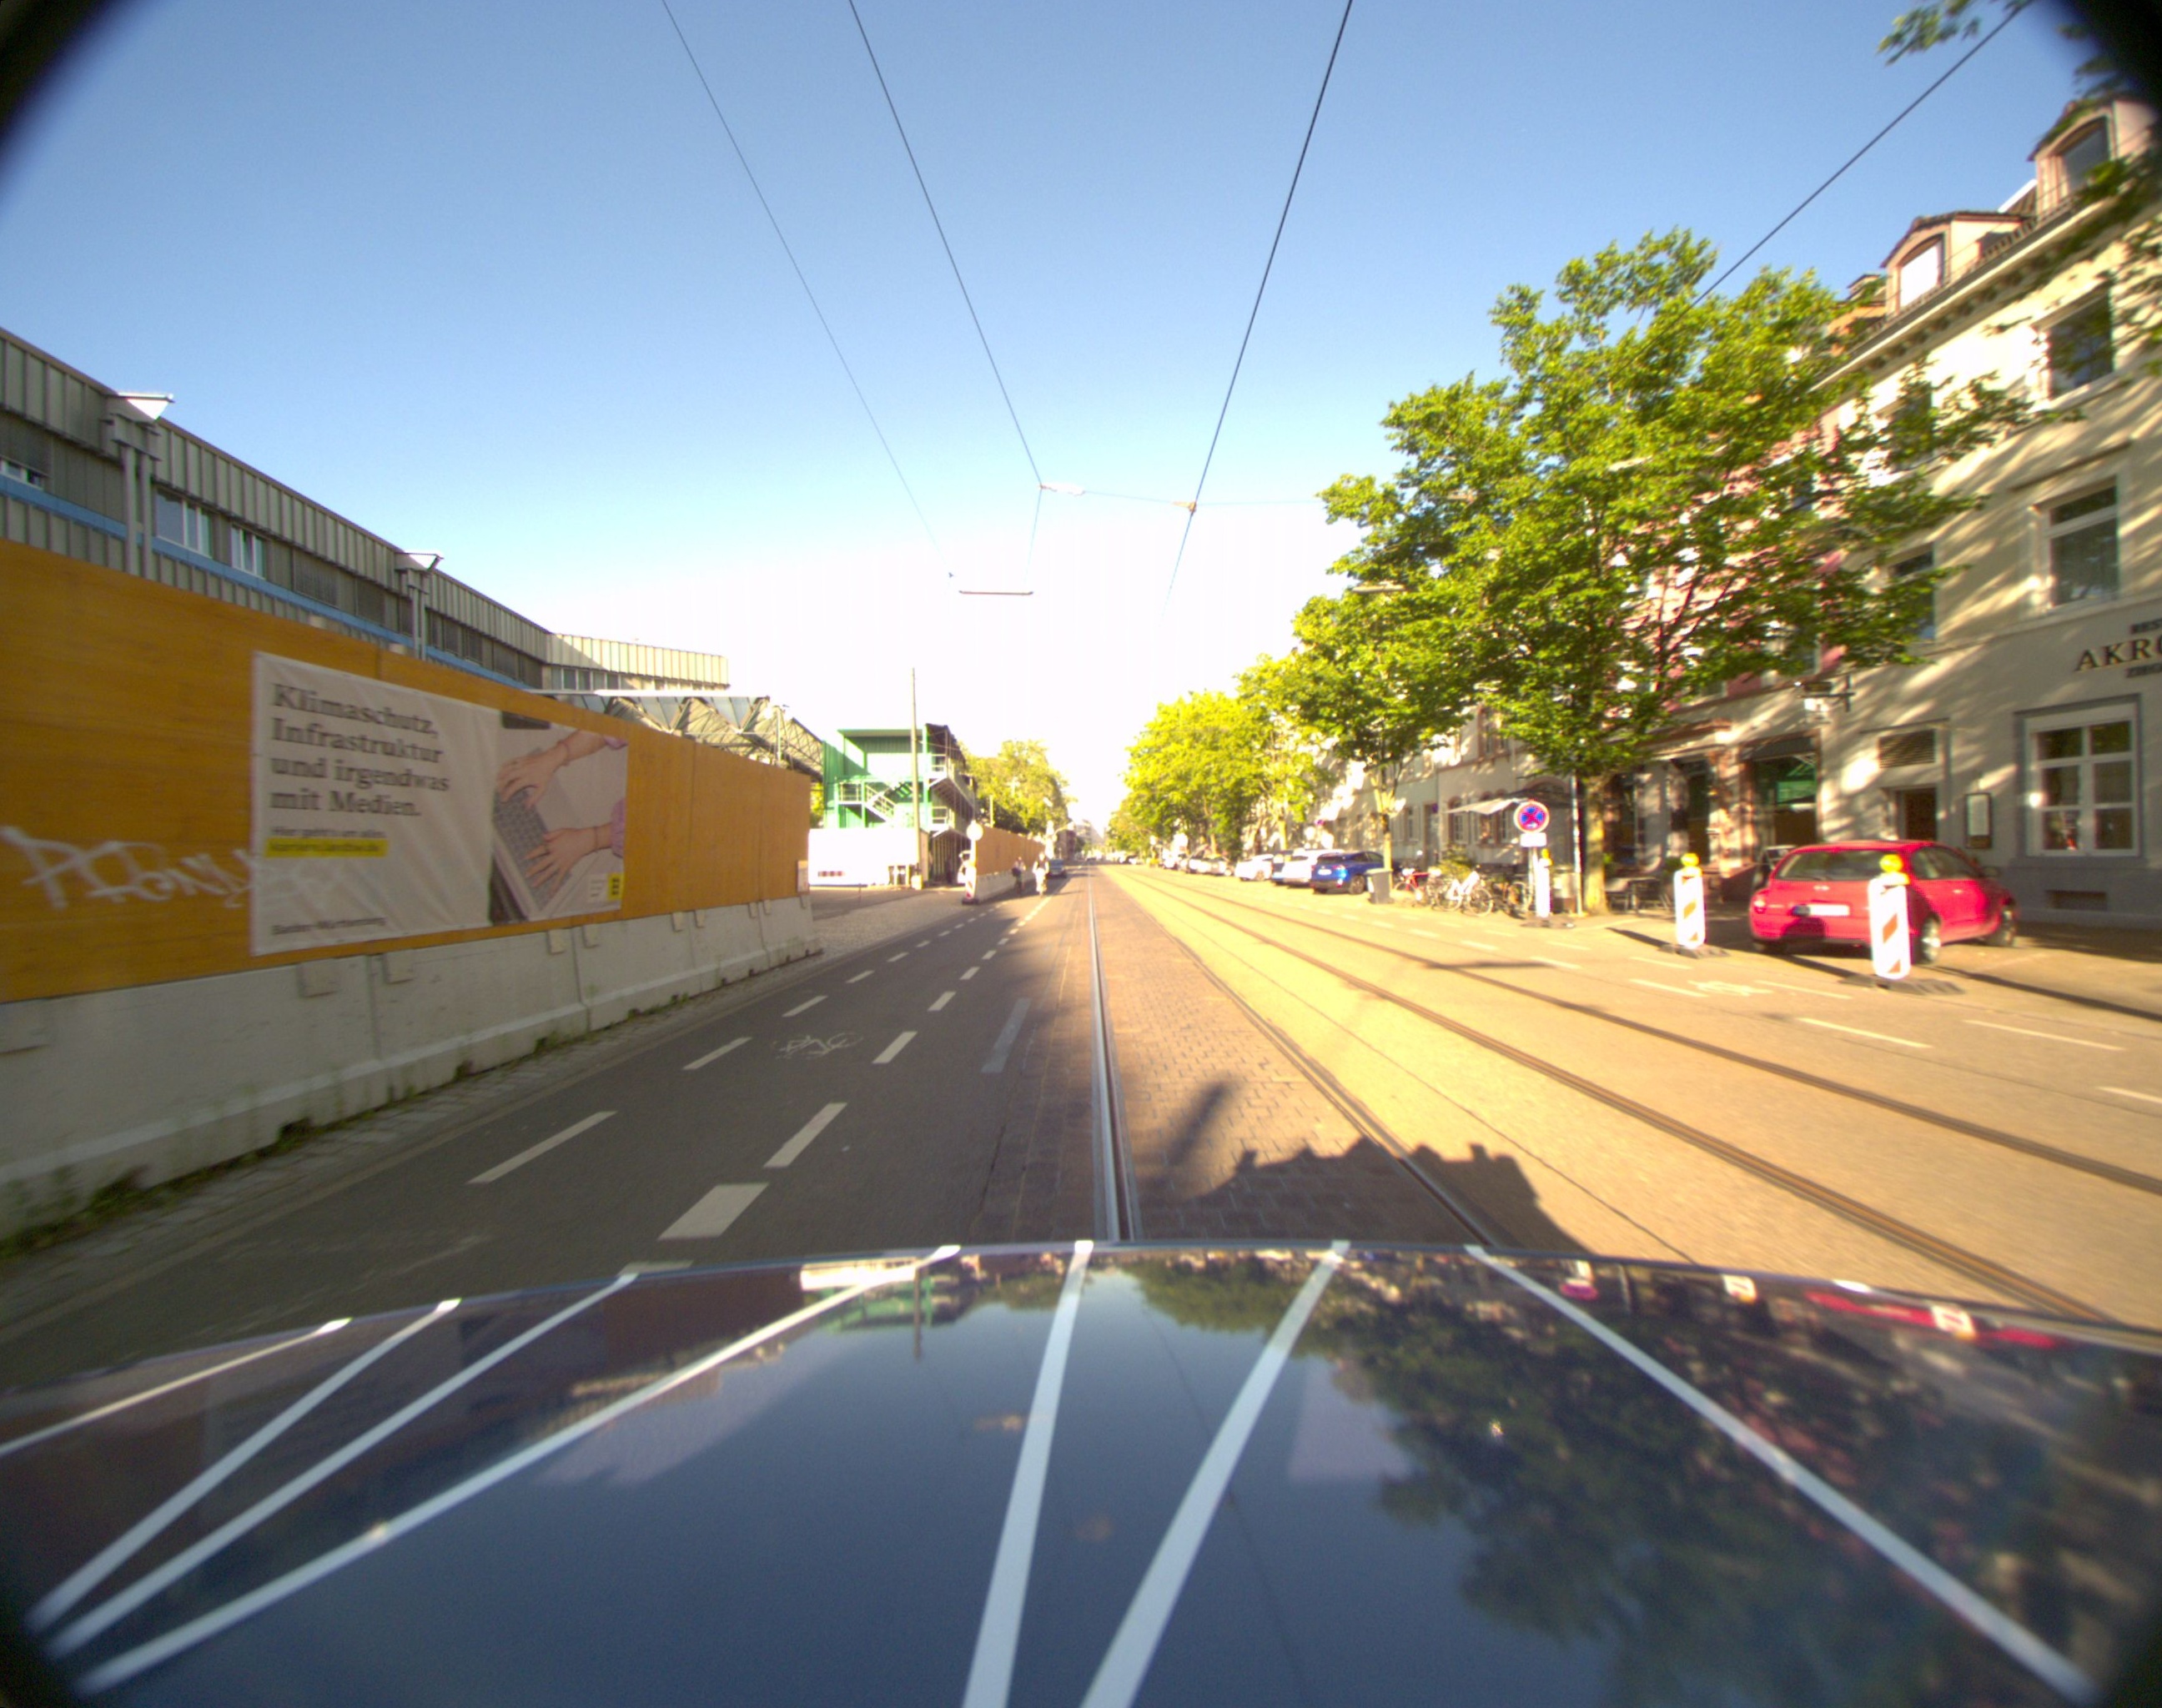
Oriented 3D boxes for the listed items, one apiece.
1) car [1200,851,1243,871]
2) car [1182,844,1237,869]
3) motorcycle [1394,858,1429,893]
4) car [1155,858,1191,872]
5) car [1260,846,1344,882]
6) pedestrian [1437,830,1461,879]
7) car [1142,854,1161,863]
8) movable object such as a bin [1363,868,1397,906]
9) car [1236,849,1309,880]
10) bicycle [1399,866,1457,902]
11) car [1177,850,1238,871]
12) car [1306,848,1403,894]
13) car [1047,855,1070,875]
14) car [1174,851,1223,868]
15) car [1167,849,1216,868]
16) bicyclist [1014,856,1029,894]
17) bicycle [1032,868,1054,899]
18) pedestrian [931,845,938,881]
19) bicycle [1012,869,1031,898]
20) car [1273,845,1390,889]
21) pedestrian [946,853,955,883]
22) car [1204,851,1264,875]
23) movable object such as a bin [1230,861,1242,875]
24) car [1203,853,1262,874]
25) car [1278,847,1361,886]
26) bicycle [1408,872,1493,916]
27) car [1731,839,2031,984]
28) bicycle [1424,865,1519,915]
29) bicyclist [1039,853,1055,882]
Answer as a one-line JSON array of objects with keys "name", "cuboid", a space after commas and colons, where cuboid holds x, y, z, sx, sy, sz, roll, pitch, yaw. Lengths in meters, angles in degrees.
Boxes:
[{"name": "car", "cuboid": [11.378, 0.538, 61.543, 3.380, 1.544, 1.381, -1, 0, -30]}, {"name": "car", "cuboid": [11.454, 0.181, 67.754, 4.448, 2.105, 2.163, -1, 0, -2]}, {"name": "motorcycle", "cuboid": [12.106, 0.756, 27.766, 0.724, 1.246, 2.605, 0, 0, 33]}, {"name": "car", "cuboid": [11.094, 1.291, 91.941, 4.006, 1.549, 1.777, -2, 1, -29]}, {"name": "car", "cuboid": [11.626, 0.512, 40.004, 4.005, 1.647, 1.807, -3, 0, -27]}, {"name": "pedestrian", "cuboid": [14.067, 0.013, 29.037, 0.645, 1.827, 0.624, 0, 1, 2]}, {"name": "car", "cuboid": [12.599, 0.838, 136.145, 3.335, 1.445, 1.497, -2, 2, 7]}, {"name": "movable object such as a bin", "cuboid": [9.024, 0.978, 22.939, 0.685, 1.071, 0.710, -4, 0, 2]}, {"name": "car", "cuboid": [11.081, 0.600, 44.035, 3.650, 1.521, 1.883, -4, 1, -19]}, {"name": "bicycle", "cuboid": [10.257, 0.876, 22.464, 1.605, 0.982, 0.388, -2, 0, -10]}, {"name": "car", "cuboid": [10.765, 0.567, 64.806, 4.841, 1.714, 2.163, -1, 0, -2]}, {"name": "car", "cuboid": [10.531, 0.611, 29.185, 3.909, 1.599, 1.569, -1, 0, -36]}, {"name": "car", "cuboid": [-1.844, 0.944, 63.219, 1.749, 1.612, 4.171, 0, -2, 1]}, {"name": "car", "cuboid": [12.232, 0.557, 79.284, 4.708, 1.567, 1.954, -2, 0, -4]}, {"name": "car", "cuboid": [12.136, 0.452, 83.608, 4.947, 2.002, 2.071, -1, 0, -24]}, {"name": "bicyclist", "cuboid": [-2.493, 0.869, 31.873, 0.557, 1.603, 0.576, 0, 1, -1]}, {"name": "bicycle", "cuboid": [-1.559, 1.190, 31.363, 0.669, 1.148, 2.276, -2, 0, 3]}, {"name": "pedestrian", "cuboid": [-8.343, 0.536, 43.231, 0.307, 2.033, 0.352, -1, 1, -5]}, {"name": "bicycle", "cuboid": [-2.490, 1.221, 31.876, 0.558, 1.120, 2.276, -1, 0, 0]}, {"name": "car", "cuboid": [11.339, 0.541, 34.366, 4.948, 1.784, 2.204, -1, 0, -28]}, {"name": "pedestrian", "cuboid": [-7.475, 0.798, 43.577, 0.449, 1.748, 0.377, -1, 1, -19]}, {"name": "car", "cuboid": [11.227, 0.660, 55.684, 4.003, 1.667, 1.700, -2, 0, -19]}, {"name": "movable object such as a bin", "cuboid": [10.671, 0.946, 52.366, 0.623, 0.939, 0.670, 2, 1, 0]}, {"name": "car", "cuboid": [11.647, 0.731, 58.412, 4.174, 1.543, 1.700, 0, 0, -15]}, {"name": "car", "cuboid": [11.521, 0.579, 36.813, 3.448, 1.832, 1.731, 0, 0, -17]}, {"name": "bicycle", "cuboid": [10.066, 1.078, 20.725, 1.972, 1.073, 0.568, -3, 0, 3]}, {"name": "car", "cuboid": [10.782, 0.672, 10.240, 3.629, 1.544, 1.665, -3, -1, -25]}, {"name": "bicycle", "cuboid": [9.950, 0.904, 19.397, 2.007, 1.081, 0.567, -5, 0, 3]}, {"name": "bicyclist", "cuboid": [-1.427, 0.558, 31.522, 0.653, 1.230, 0.353, 0, 1, -1]}]
